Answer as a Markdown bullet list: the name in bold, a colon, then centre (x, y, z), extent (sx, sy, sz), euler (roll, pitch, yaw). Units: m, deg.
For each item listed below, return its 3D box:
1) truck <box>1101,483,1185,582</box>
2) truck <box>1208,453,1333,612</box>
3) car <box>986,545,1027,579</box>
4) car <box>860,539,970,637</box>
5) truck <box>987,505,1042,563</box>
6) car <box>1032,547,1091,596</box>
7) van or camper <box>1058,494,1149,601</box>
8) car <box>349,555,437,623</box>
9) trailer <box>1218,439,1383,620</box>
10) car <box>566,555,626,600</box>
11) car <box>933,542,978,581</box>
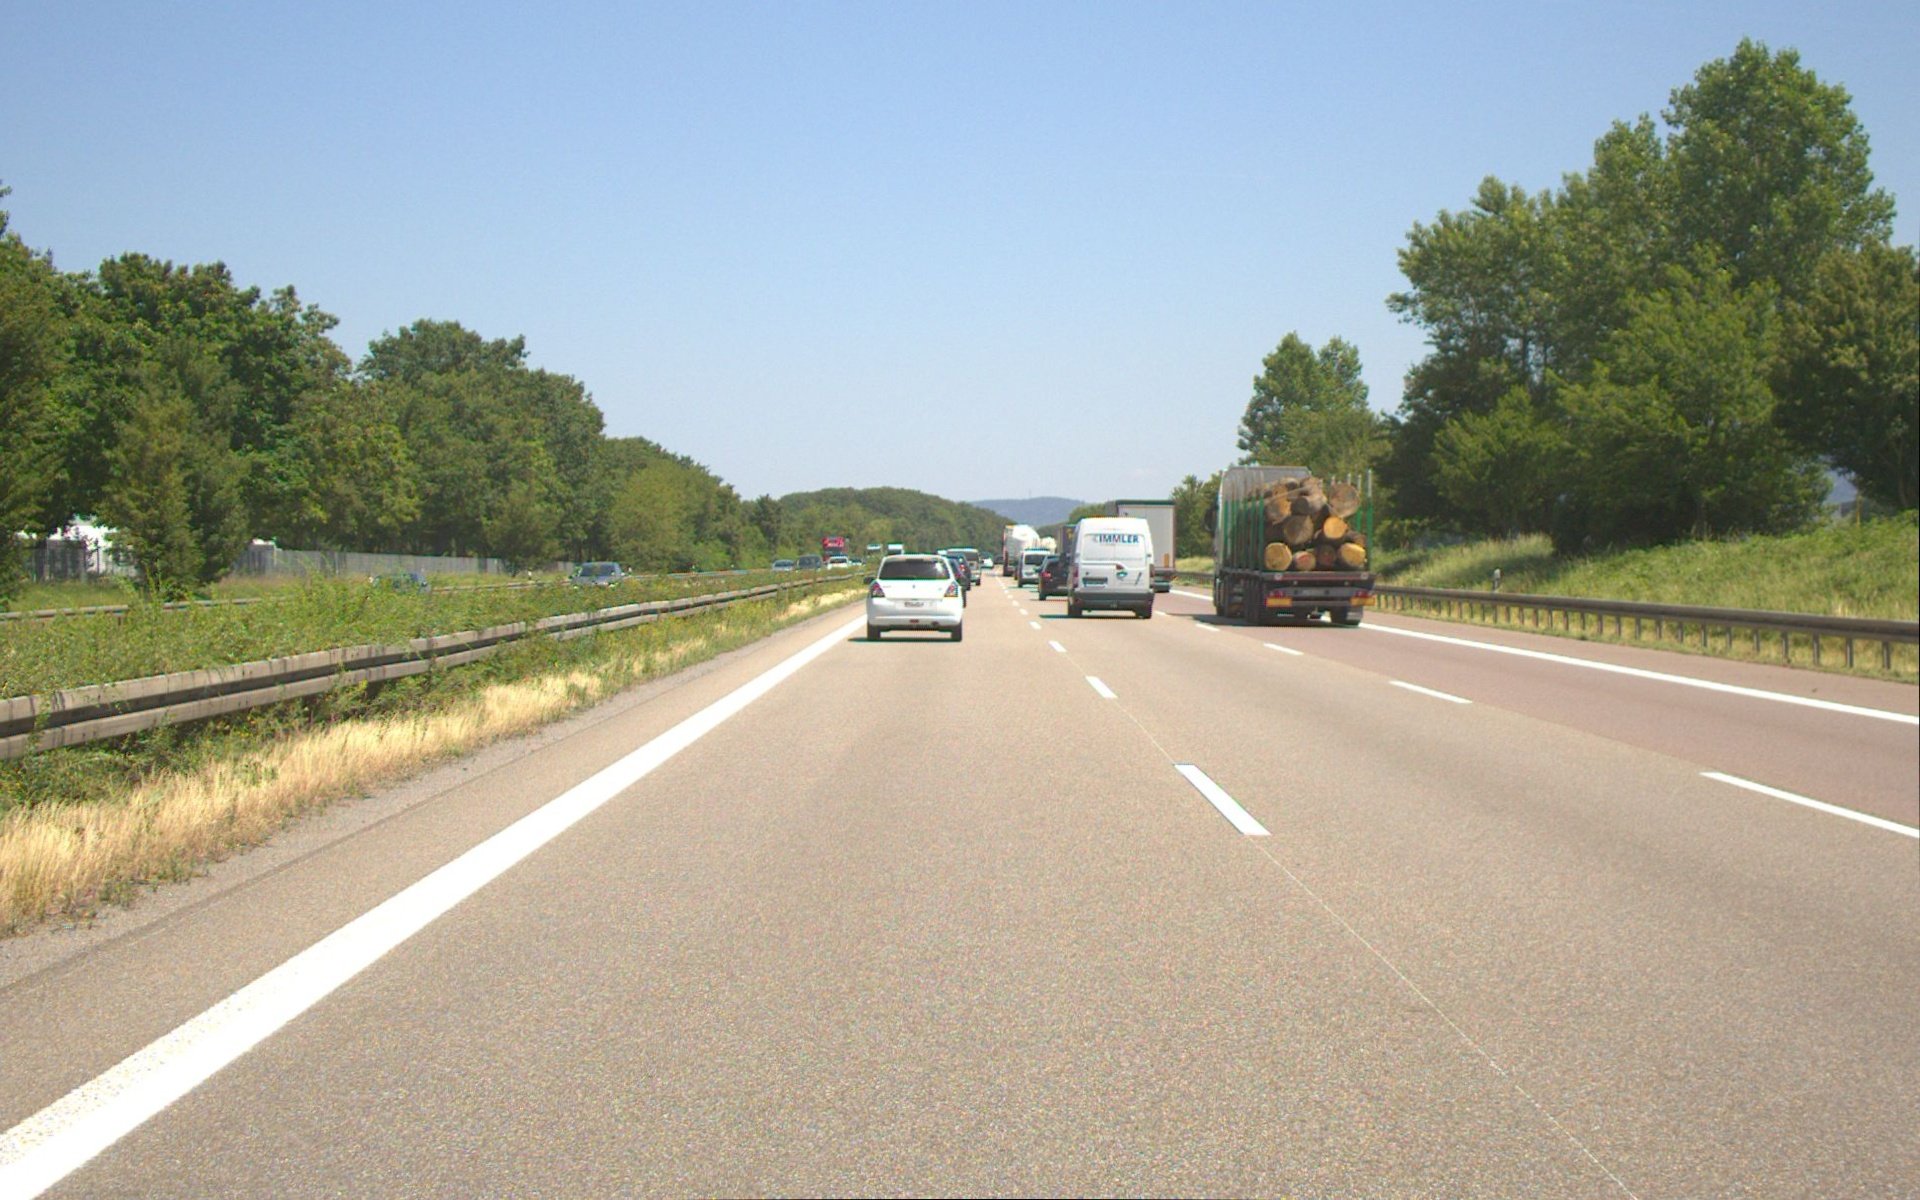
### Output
- **truck**: centre (8.247, -3.012, 157.024), extent (3.079, 4.194, 16.843), euler (2, 1, 1)
- **truck**: centre (8.078, -1.749, 90.138), extent (2.670, 3.981, 6.636), euler (1, 1, 0)
- **car**: centre (2.271, -1.870, 168.427), extent (1.857, 1.646, 4.000), euler (1, 1, -1)
- **car**: centre (-0.817, -0.232, 61.324), extent (1.857, 1.646, 4.000), euler (2, 1, -1)
- **truck**: centre (4.123, -5.020, 263.072), extent (3.257, 4.194, 16.845), euler (2, 1, -2)
- **car**: centre (3.536, -1.000, 120.310), extent (1.857, 1.646, 4.000), euler (1, 1, -1)
- **van or camper**: centre (3.609, -1.325, 87.338), extent (2.058, 2.613, 5.985), euler (1, 1, 0)
- **car**: centre (-17.492, -0.361, 106.219), extent (1.993, 2.007, 4.272), euler (2, 1, 0)
- **trailer**: centre (8.034, -1.658, 82.843), extent (2.653, 3.945, 13.636), euler (1, 1, 0)
- **car**: centre (-13.238, -0.823, 125.180), extent (1.792, 1.573, 4.212), euler (-1, 1, -1)
- **car**: centre (-0.203, -1.698, 150.962), extent (1.857, 1.646, 4.000), euler (1, 1, -1)
